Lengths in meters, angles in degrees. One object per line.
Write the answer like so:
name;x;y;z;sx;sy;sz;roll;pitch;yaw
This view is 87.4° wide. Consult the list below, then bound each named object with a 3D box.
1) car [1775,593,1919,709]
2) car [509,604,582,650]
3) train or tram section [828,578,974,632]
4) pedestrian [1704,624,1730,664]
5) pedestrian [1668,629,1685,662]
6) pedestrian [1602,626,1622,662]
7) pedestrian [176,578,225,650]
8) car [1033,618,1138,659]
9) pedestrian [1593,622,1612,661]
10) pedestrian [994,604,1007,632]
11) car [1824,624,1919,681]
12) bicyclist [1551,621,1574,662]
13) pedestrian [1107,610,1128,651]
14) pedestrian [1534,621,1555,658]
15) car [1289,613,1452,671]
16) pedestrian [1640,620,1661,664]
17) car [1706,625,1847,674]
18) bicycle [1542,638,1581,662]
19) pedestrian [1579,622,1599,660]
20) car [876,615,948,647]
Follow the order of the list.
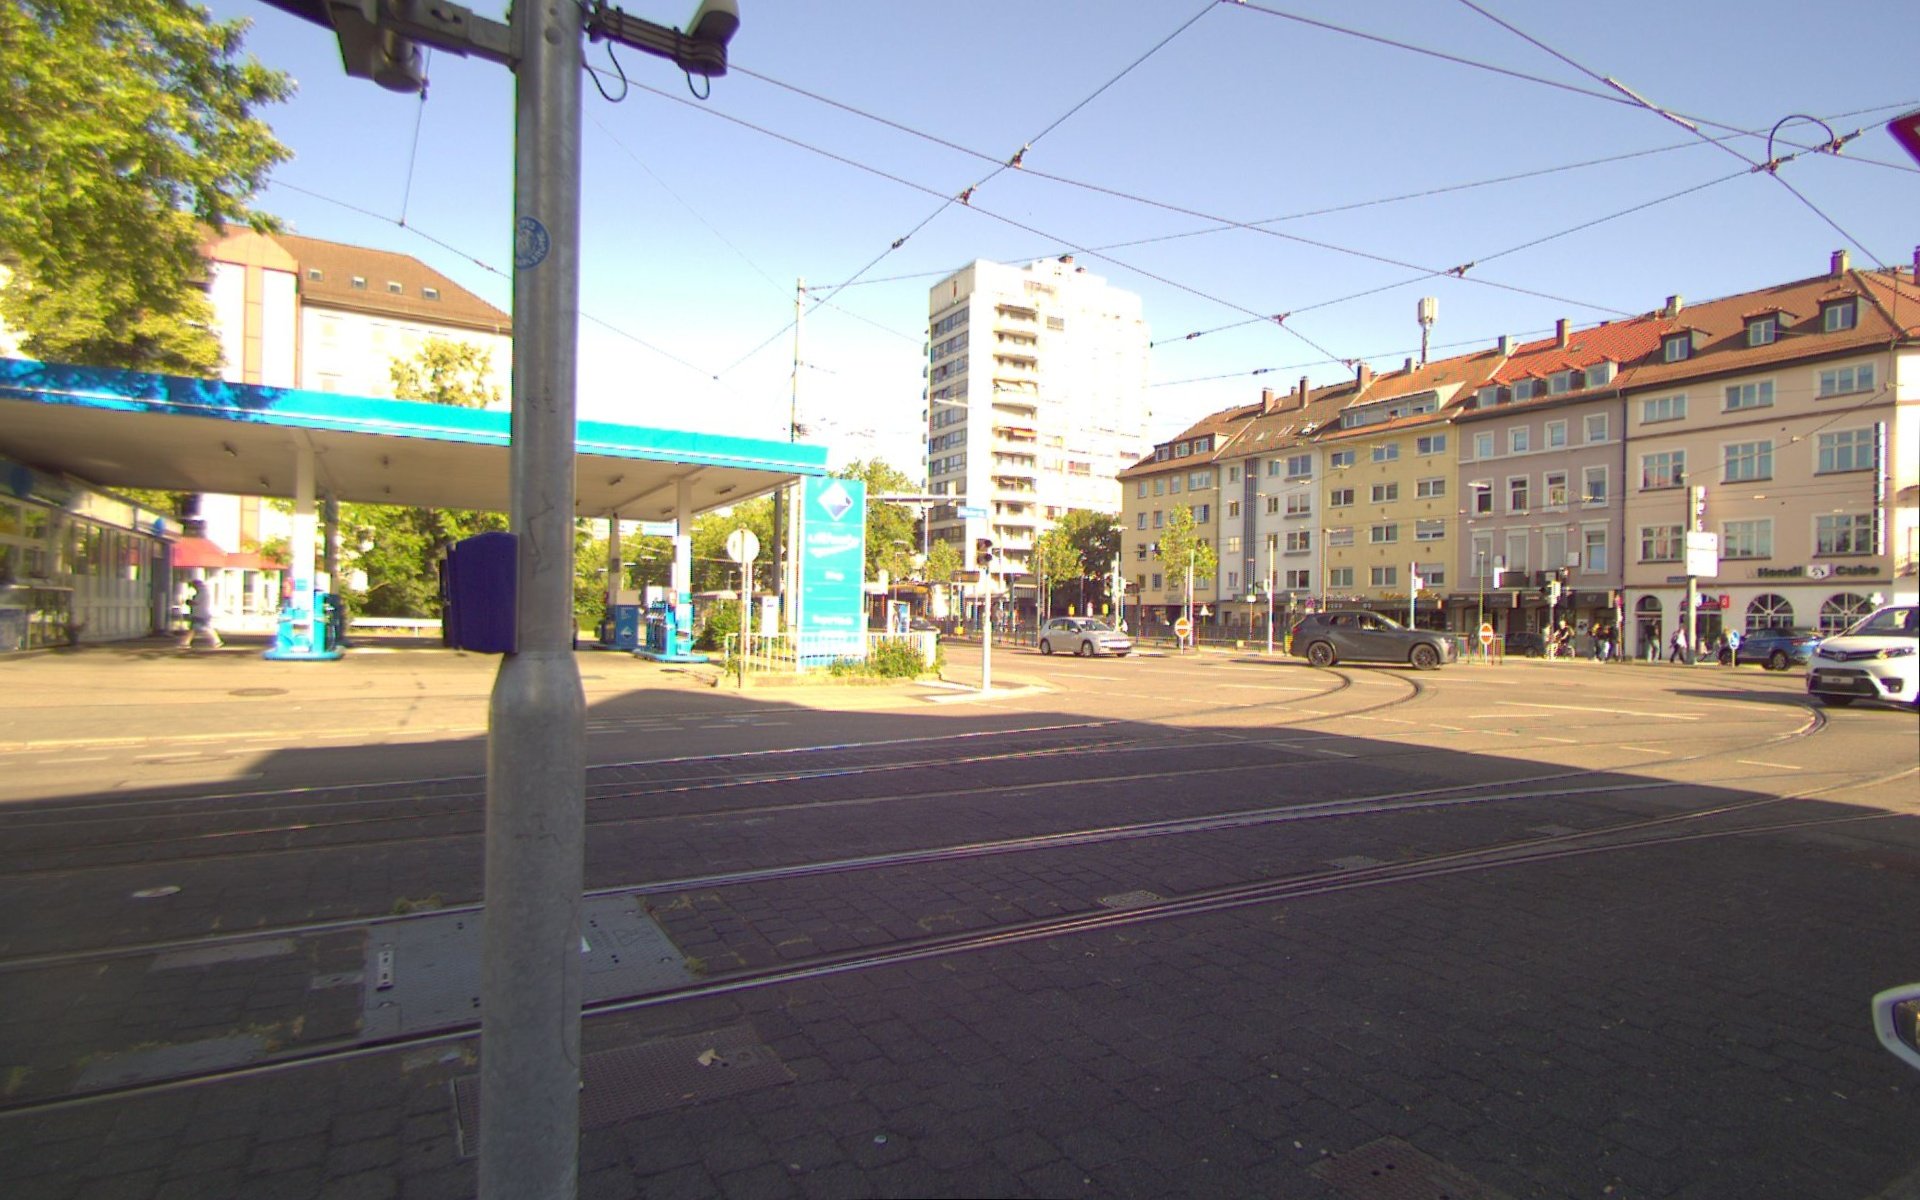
car;17.599;0.905;17.686;5.118;1.878;1.998;1;-1;-6
car;-13.515;0.856;32.654;1.659;1.372;3.559;2;0;-31
train or tram section;-4.421;0.245;67.255;2.821;3.179;16.611;2;0;-29
pedestrian;32.693;1.890;43.368;0.831;1.670;0.579;2;0;-30
pedestrian;31.184;1.975;43.725;0.620;1.438;0.399;2;0;-36
pedestrian;28.010;1.888;43.166;0.550;1.512;0.489;2;0;-30
pedestrian;-18.595;0.347;24.597;0.838;1.724;0.644;2;-3;-31
car;4.614;1.387;37.555;1.714;1.408;4.193;1;-1;-30
pedestrian;27.923;1.809;43.651;0.492;1.670;0.520;2;0;-30
pedestrian;3.167;1.409;78.636;0.729;2.127;0.880;2;0;-21
car;26.807;1.469;28.699;3.865;1.523;1.780;1;-1;-24
bicyclist;27.134;1.858;45.251;0.606;1.814;0.619;2;0;-25
pedestrian;6.407;1.227;40.915;0.750;1.631;0.613;2;0;15
pedestrian;27.476;1.853;47.192;0.609;1.670;0.581;2;0;-30
car;12.223;1.215;29.952;4.372;1.623;1.872;0;-2;27
pedestrian;29.216;1.777;42.502;0.671;1.847;0.523;2;0;-40
car;29.572;1.747;36.577;1.795;1.596;4.200;1;0;1
bicycle;27.103;2.251;45.241;1.731;1.044;0.619;2;0;-25
pedestrian;27.637;1.798;44.120;0.492;1.670;0.520;2;0;-30
car;-2.435;1.540;50.318;1.976;1.537;4.177;1;-1;-29
